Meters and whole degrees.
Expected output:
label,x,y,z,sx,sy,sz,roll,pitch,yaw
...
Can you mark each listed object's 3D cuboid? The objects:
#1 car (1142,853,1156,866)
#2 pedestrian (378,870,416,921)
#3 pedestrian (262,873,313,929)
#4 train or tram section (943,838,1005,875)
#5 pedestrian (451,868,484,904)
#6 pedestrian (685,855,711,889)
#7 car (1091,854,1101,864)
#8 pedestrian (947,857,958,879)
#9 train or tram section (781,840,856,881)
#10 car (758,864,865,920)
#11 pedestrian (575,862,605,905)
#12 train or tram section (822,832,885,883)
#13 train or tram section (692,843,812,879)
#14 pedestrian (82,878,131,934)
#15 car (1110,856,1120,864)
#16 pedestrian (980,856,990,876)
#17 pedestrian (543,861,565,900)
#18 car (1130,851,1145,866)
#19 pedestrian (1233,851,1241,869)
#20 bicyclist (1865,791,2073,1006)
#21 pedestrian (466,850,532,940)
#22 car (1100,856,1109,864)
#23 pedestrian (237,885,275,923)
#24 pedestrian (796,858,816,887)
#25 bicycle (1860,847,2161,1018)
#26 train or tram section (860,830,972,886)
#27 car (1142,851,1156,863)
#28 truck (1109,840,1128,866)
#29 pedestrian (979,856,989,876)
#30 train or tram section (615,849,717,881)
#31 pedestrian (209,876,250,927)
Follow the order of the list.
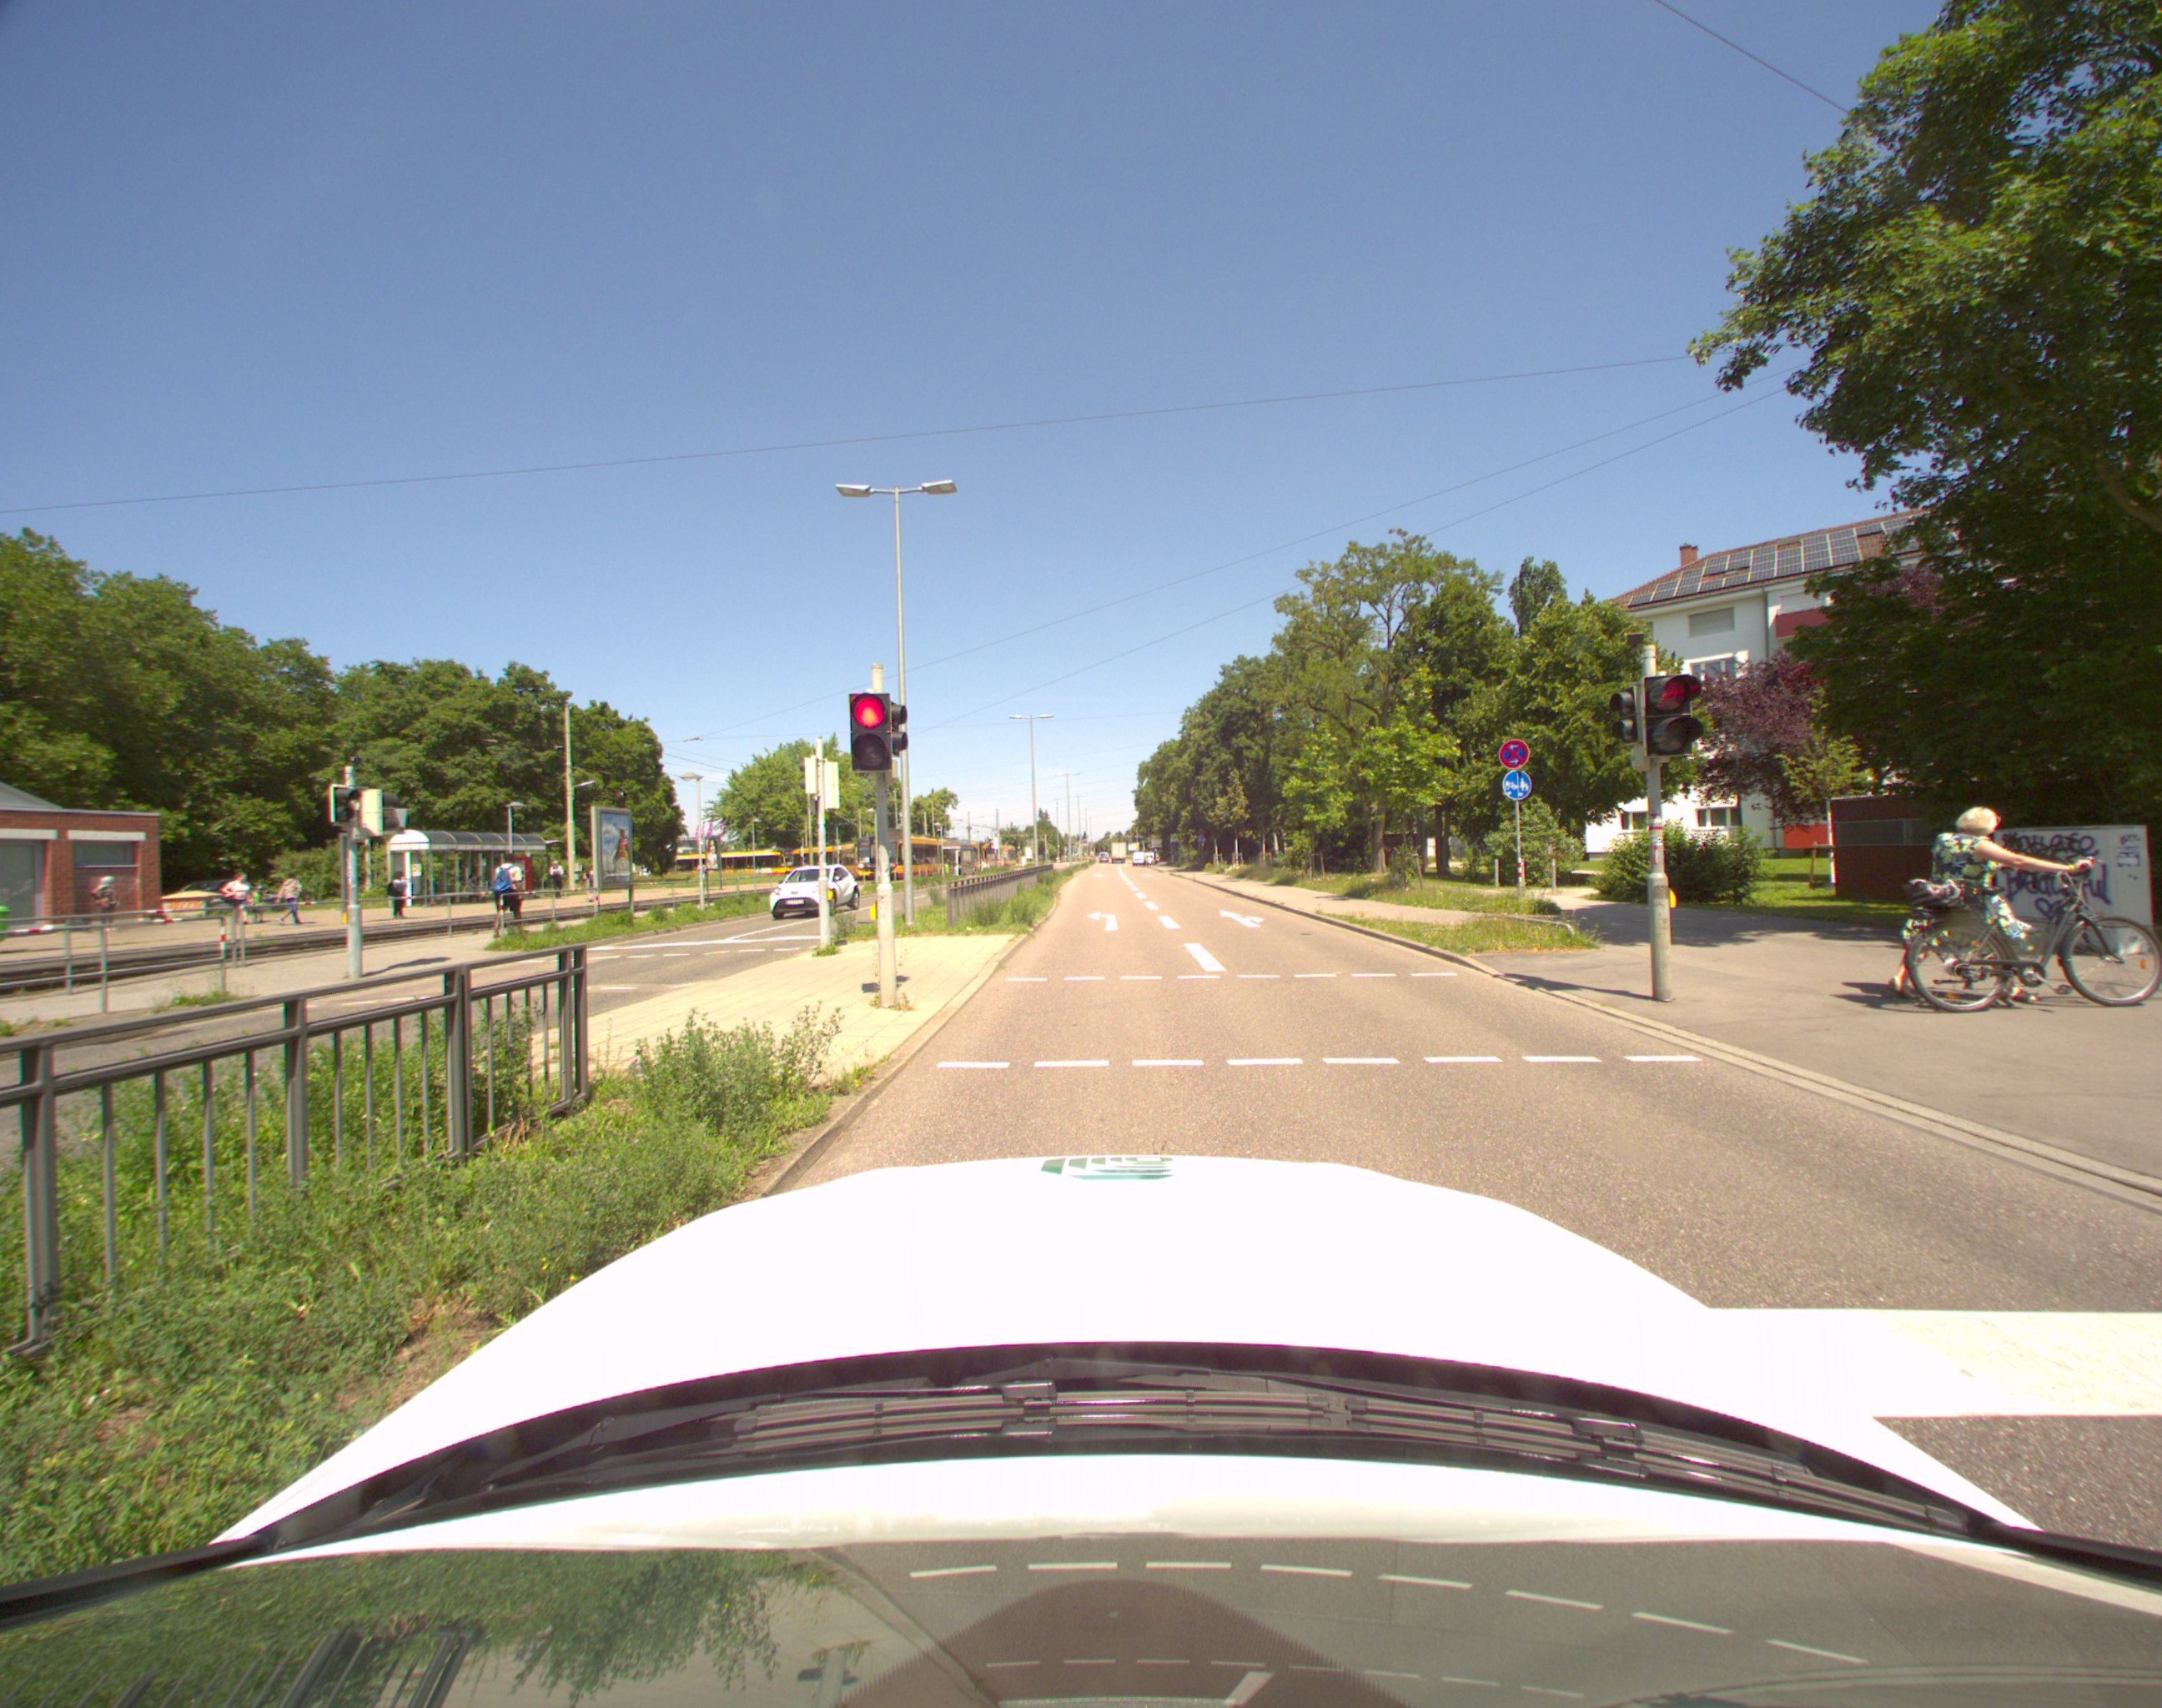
label,x,y,z,sx,sy,sz,roll,pitch,yaw
car,9.378,0.716,112.419,1.773,1.668,4.002,-2,0,2
pedestrian,-21.543,1.290,25.659,0.635,1.555,0.691,-2,0,-11
pedestrian,-23.372,1.363,23.993,0.669,1.590,0.808,-2,0,1
train or tram section,-12.764,0.298,102.206,2.921,3.789,33.087,-2,0,1
pedestrian,-26.285,1.371,34.892,0.836,1.511,0.723,-2,0,12
pedestrian,-23.101,1.072,49.151,0.977,2.013,1.021,-2,0,1
car,3.313,1.092,175.330,1.986,2.013,4.002,-2,0,2
pedestrian,-10.984,1.199,69.726,0.783,1.868,0.818,-2,0,1
train or tram section,-28.906,0.769,88.792,3.238,3.931,18.310,-1,0,-32
car,-8.117,1.098,24.901,1.838,1.494,3.793,-2,0,2
pedestrian,-21.218,1.250,35.181,0.715,1.777,0.843,3,2,1
train or tram section,-20.554,0.356,72.537,3.229,3.931,18.361,-2,0,-22
train or tram section,-40.797,0.965,100.385,18.262,3.931,3.246,-2,0,30
pedestrian,-26.687,1.414,22.302,0.636,1.480,0.570,-2,0,1
car,6.475,1.141,153.687,1.804,1.464,4.002,-2,0,2
pedestrian,-9.916,1.237,84.063,0.812,2.013,0.939,-2,0,1
pedestrian,-24.868,1.265,38.442,0.725,1.800,0.835,-1,0,-41
car,7.289,0.560,105.538,1.773,1.903,4.002,-2,0,2
pedestrian,12.609,0.500,65.755,0.600,1.438,0.557,-2,0,8
bicyclist,7.402,0.359,6.826,0.951,1.666,0.582,-4,0,9
pedestrian,-12.266,0.845,17.184,0.715,1.777,0.843,3,2,1
car,4.547,1.168,158.004,1.804,1.464,4.002,-2,0,2
pedestrian,-25.230,1.528,24.908,0.634,1.124,0.572,-2,0,16
pedestrian,-19.534,1.320,57.822,0.977,2.013,1.021,-2,0,1
bicycle,7.504,0.607,6.435,1.946,1.161,0.542,-5,0,9
train or tram section,-13.300,0.293,70.748,2.947,3.749,30.038,-2,0,1
car,9.899,0.458,118.760,1.773,1.668,4.002,-2,0,2
truck,6.761,-0.173,146.135,3.193,4.359,6.563,-2,0,2
pedestrian,-10.137,1.250,85.363,0.812,2.013,0.939,-2,0,1
train or tram section,-56.229,1.566,109.878,18.260,3.931,3.247,-2,0,32
pedestrian,-25.114,1.403,24.016,0.634,1.456,0.585,-2,0,16
